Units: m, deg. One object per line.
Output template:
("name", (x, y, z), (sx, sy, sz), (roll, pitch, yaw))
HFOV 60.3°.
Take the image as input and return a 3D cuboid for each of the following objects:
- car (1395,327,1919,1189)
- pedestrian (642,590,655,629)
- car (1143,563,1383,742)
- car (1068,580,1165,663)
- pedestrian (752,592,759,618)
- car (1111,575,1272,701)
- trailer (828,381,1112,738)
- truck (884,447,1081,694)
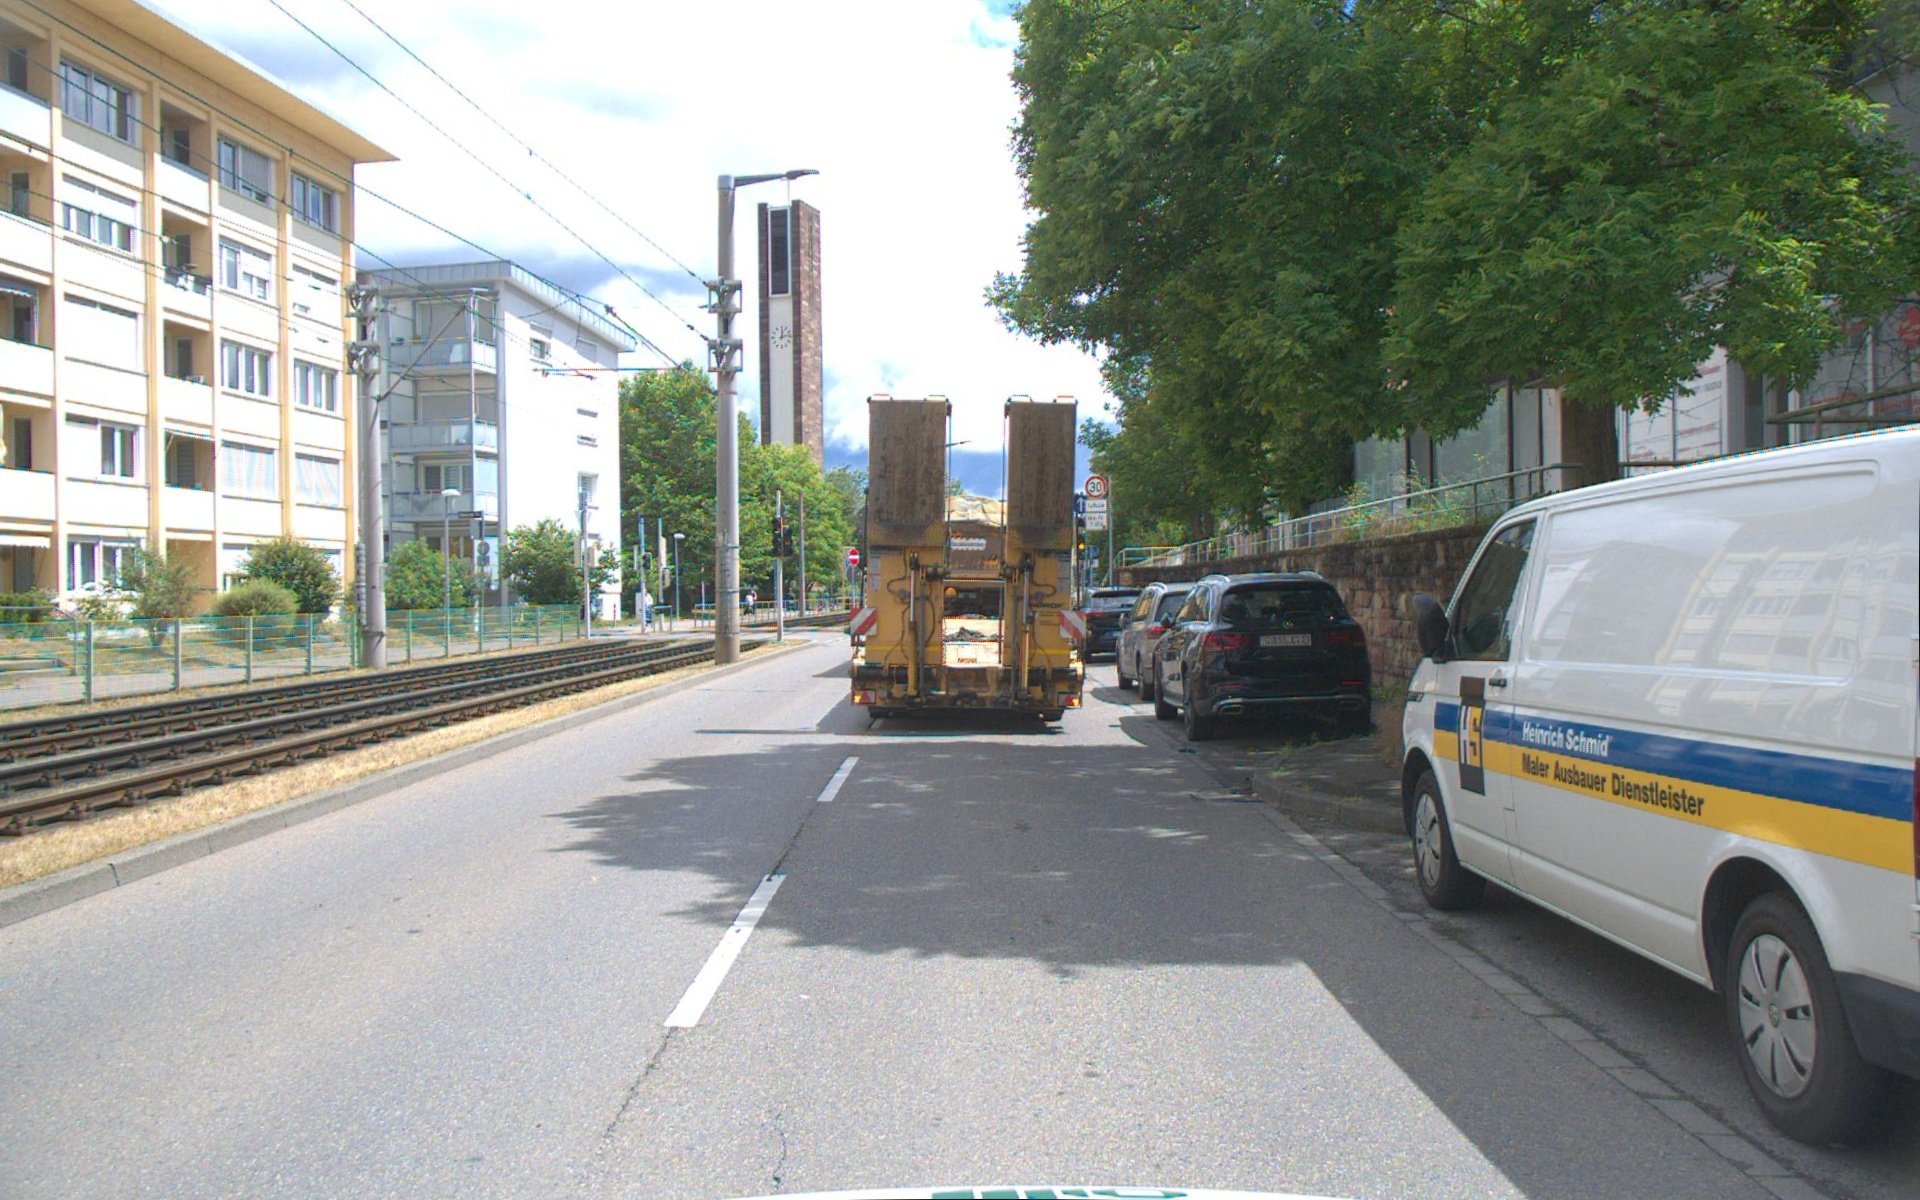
("car", (3.218, 0.349, 6.129), (1.932, 2.004, 5.013), (0, 0, 0))
("pedestrian", (-13.023, 0.392, 69.179), (0.428, 1.608, 0.475), (0, 0, 5))
("car", (3.153, 0.490, 18.081), (1.753, 1.646, 4.447), (-2, 0, 0))
("car", (3.367, 0.434, 36.185), (1.812, 1.668, 4.001), (-2, 0, 2))
("pedestrian", (-12.131, 0.281, 98.053), (0.341, 1.564, 0.557), (0, 0, 4))
("car", (3.315, 0.502, 24.459), (1.753, 1.646, 4.248), (-1, 0, 0))
("trailer", (0.238, -0.448, 21.674), (2.884, 3.664, 8.686), (2, 0, 2))
("truck", (0.417, -0.461, 27.073), (2.881, 3.635, 4.878), (1, 0, 2))
